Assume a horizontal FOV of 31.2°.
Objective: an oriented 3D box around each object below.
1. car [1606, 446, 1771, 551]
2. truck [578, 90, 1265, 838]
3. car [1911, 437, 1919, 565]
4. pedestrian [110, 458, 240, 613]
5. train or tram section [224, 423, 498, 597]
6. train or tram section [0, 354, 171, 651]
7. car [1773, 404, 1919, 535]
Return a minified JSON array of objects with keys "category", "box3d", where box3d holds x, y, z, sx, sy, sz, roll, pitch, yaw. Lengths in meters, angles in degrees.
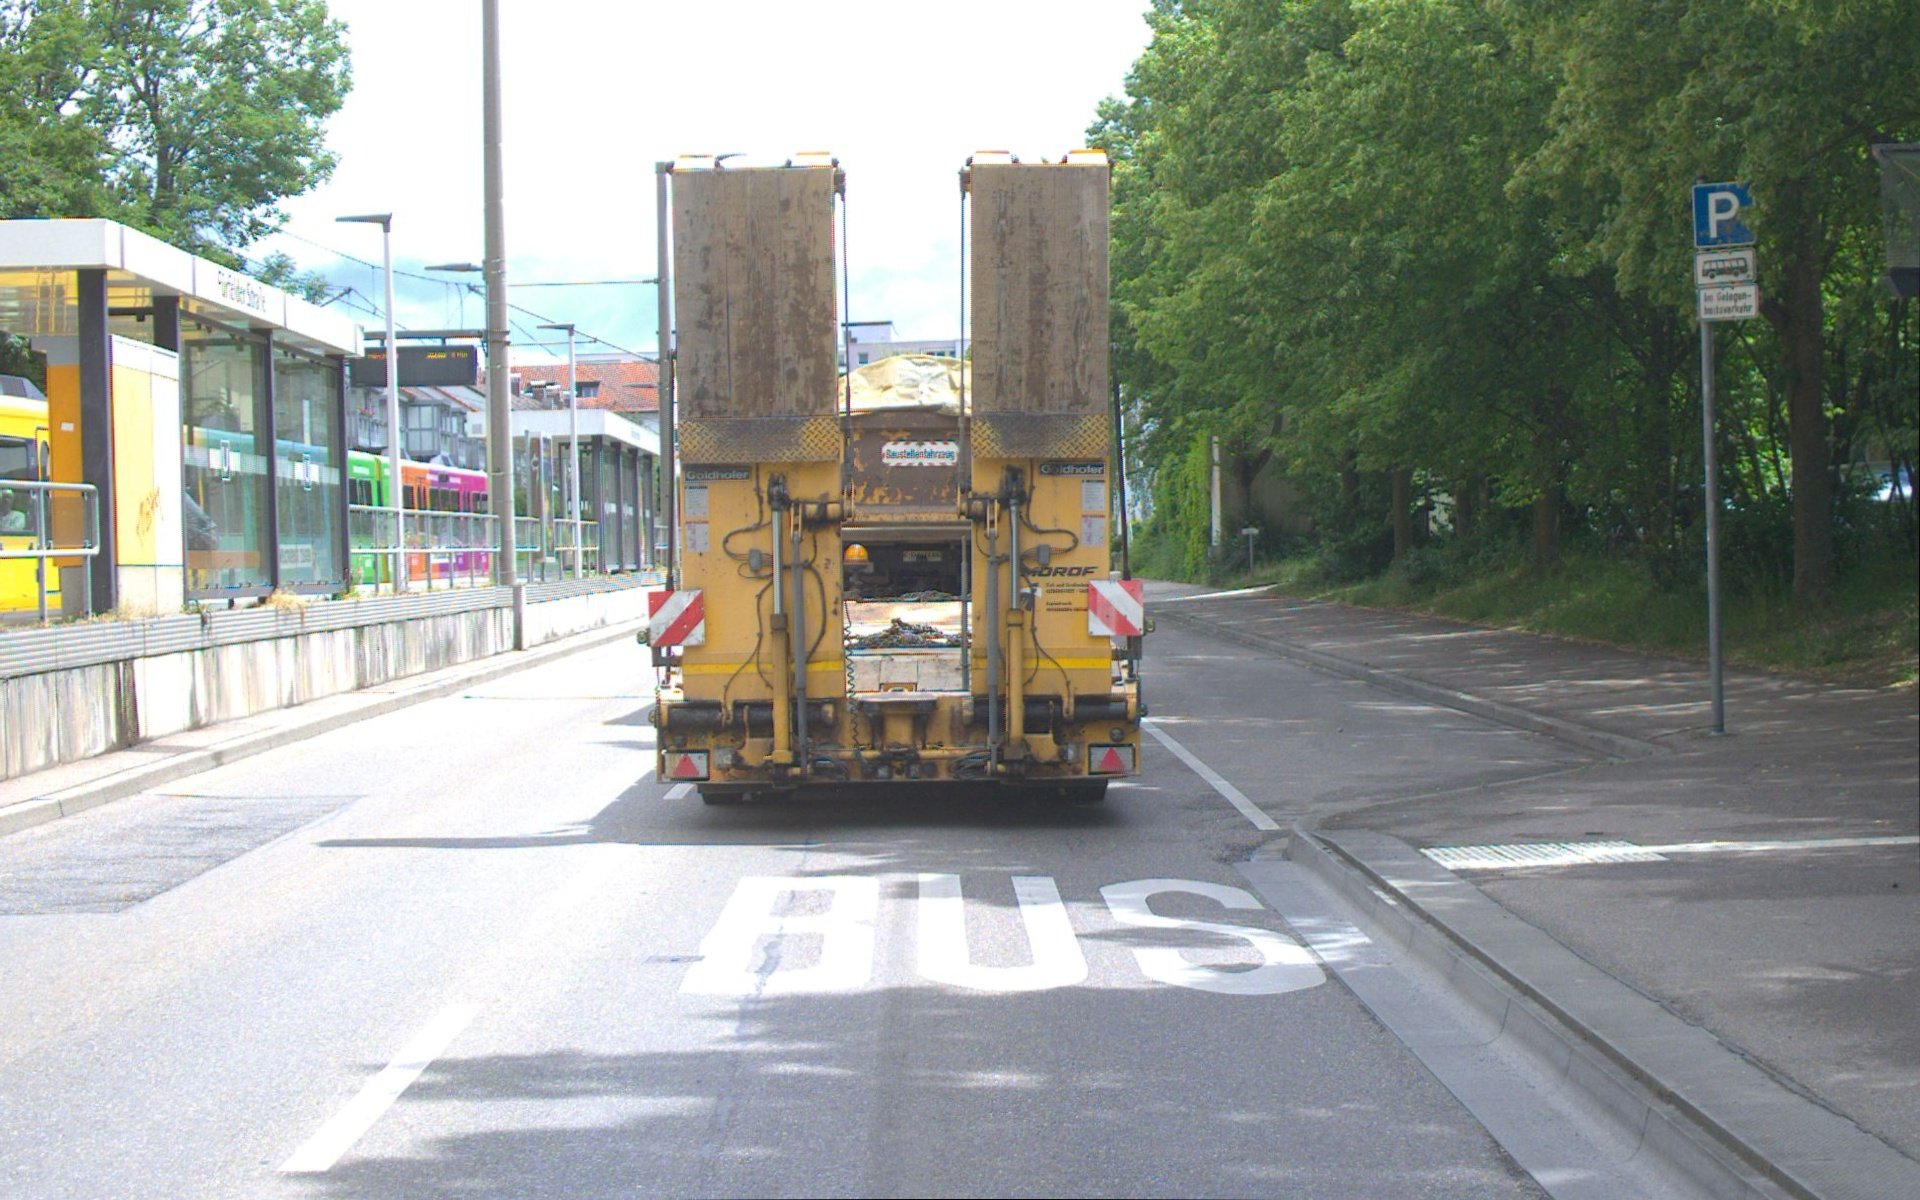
[{"category":"car","box3d":[11.735,-1.615,55.636,1.715,1.502,4.160,-4,1,0]},{"category":"truck","box3d":[-0.540,-0.818,24.290,3.402,3.719,13.740,-1,1,-3]},{"category":"car","box3d":[11.594,-1.103,36.195,1.608,1.408,3.820,-3,1,-8]},{"category":"pedestrian","box3d":[-6.283,-0.518,27.559,0.795,1.182,0.920,-3,1,-2]},{"category":"train or tram section","box3d":[-13.220,-1.964,77.997,3.108,3.453,19.091,0,1,-1]},{"category":"train or tram section","box3d":[-12.732,-1.134,39.719,3.108,3.453,18.998,0,1,-1]},{"category":"car","box3d":[11.357,-1.583,41.923,1.797,1.459,3.990,-3,1,-1]}]
